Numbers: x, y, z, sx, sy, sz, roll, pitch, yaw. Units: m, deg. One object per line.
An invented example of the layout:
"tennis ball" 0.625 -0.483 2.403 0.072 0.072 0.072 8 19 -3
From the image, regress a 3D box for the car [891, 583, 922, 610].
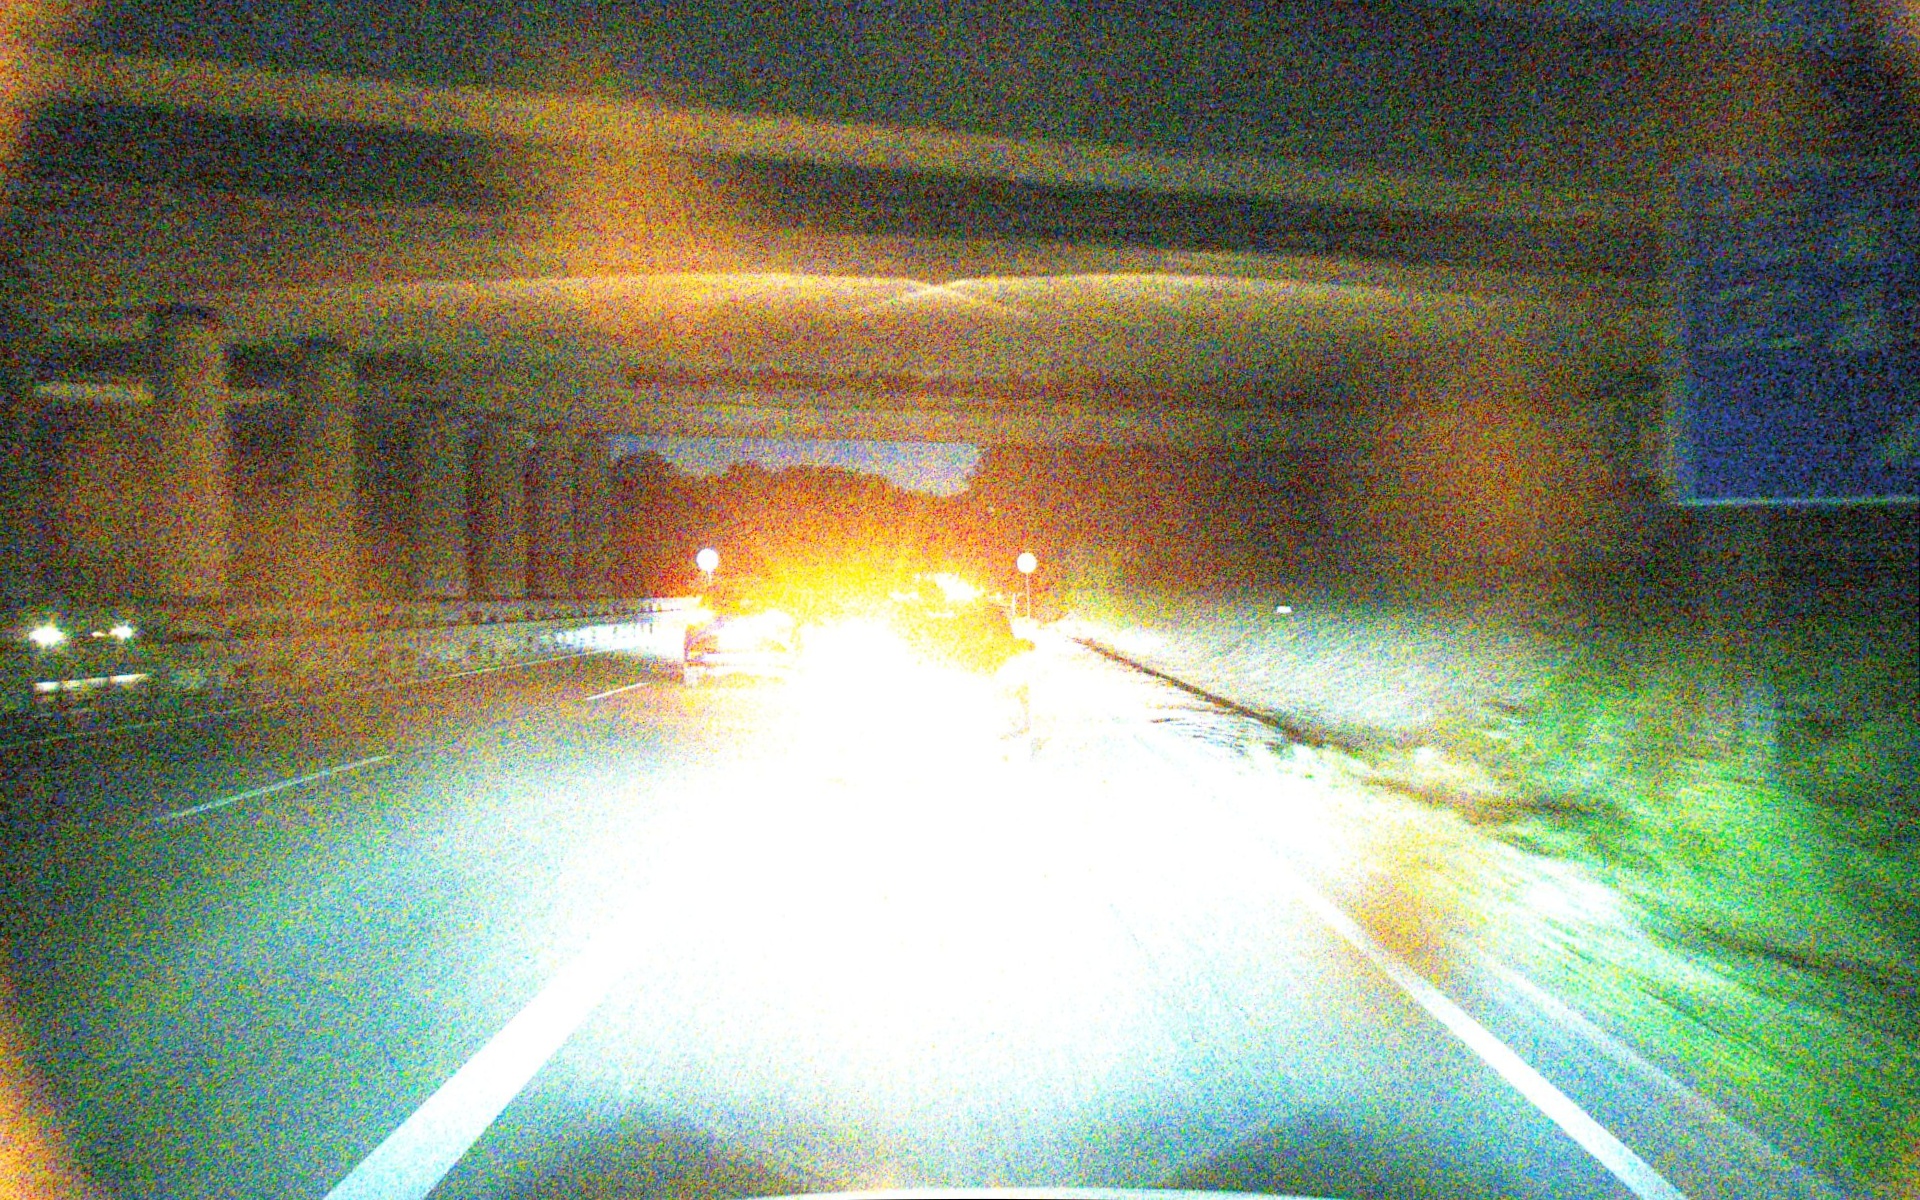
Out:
"car" -3.558 -0.196 110.412 1.912 1.565 4.240 -4 -1 -1

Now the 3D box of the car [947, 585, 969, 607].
"car" -0.179 -0.319 131.883 1.698 1.646 3.797 1 0 -1

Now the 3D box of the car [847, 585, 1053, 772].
"car" -0.213 0.648 15.666 1.658 1.503 3.997 1 0 -4

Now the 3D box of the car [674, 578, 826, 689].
"car" -3.360 0.487 27.295 1.900 1.636 4.643 1 1 0
